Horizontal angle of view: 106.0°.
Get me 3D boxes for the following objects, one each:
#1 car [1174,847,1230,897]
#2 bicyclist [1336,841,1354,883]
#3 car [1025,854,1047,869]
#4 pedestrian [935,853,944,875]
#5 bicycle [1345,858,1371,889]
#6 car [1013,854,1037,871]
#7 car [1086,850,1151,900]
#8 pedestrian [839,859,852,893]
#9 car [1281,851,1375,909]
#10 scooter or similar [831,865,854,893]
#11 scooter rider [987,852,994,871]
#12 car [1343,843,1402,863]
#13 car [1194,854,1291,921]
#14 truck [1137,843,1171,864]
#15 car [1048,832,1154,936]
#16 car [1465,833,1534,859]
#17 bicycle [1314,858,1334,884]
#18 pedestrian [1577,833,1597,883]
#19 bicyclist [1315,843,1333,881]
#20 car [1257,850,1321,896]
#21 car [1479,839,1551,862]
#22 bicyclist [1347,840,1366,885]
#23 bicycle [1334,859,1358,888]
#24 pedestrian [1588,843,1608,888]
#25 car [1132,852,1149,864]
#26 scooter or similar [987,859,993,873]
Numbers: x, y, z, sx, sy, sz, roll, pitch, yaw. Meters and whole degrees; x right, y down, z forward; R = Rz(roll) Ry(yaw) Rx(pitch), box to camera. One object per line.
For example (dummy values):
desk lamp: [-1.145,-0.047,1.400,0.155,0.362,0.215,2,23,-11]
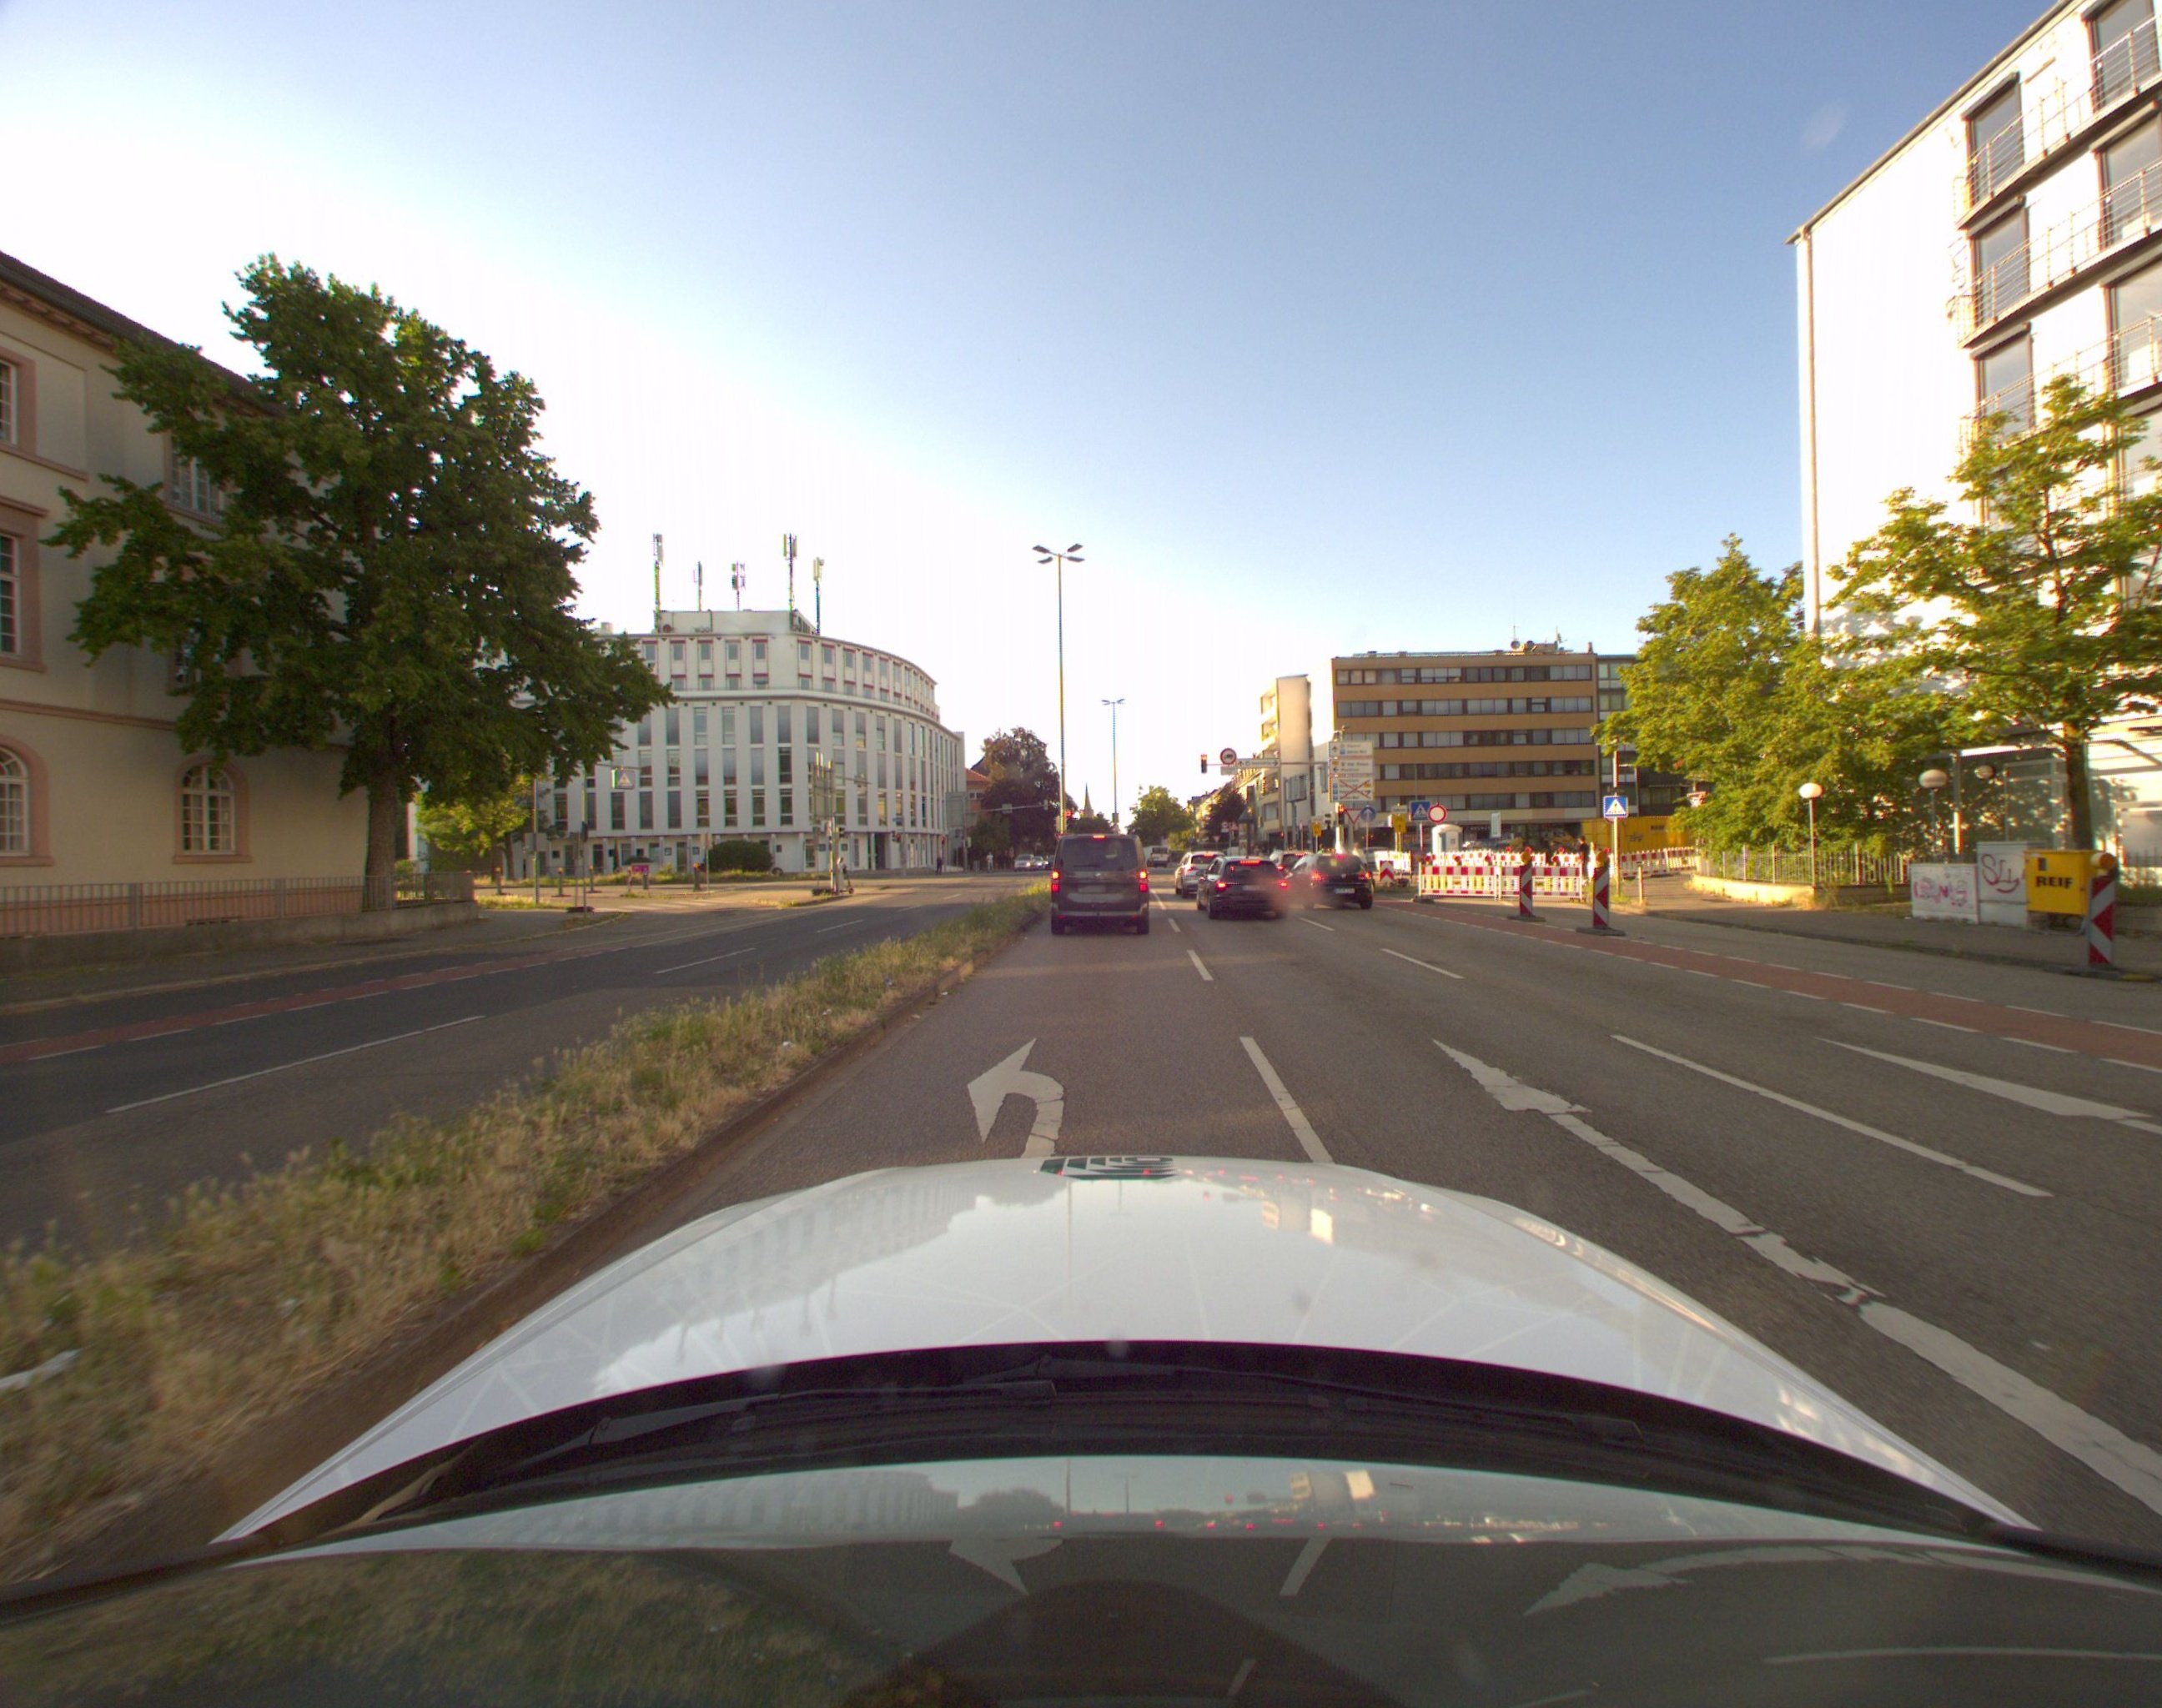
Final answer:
car: [4.068,0.574,27.881,1.522,1.613,3.748,0,0,3]
bicyclist: [9.733,0.303,30.032,0.439,1.525,0.726,-2,0,2]
car: [-4.485,0.753,81.250,1.849,1.420,4.001,-2,0,1]
pedestrian: [-11.238,0.802,64.782,0.626,1.722,0.669,-2,0,-11]
bicycle: [9.450,0.642,27.819,0.335,1.008,1.857,-2,0,3]
car: [-5.200,0.791,75.792,1.849,1.420,4.001,-2,0,1]
car: [1.278,0.645,27.492,1.985,1.530,4.003,-2,0,3]
pedestrian: [-10.496,0.976,36.273,0.474,1.505,0.334,-1,0,-9]
car: [6.718,0.658,22.529,1.627,1.449,3.748,0,0,3]
scooter or similar: [-10.557,1.104,36.020,0.893,1.234,0.370,-2,0,-9]
scooter rider: [-8.021,0.673,71.888,0.479,1.697,0.637,-2,0,2]
car: [22.624,-0.104,63.270,3.979,1.420,1.785,-2,0,-4]
car: [3.764,0.715,19.609,1.675,1.421,4.217,0,0,3]
truck: [7.787,-0.043,87.327,2.131,2.086,4.608,-2,0,-15]
car: [0.462,0.523,16.882,1.899,1.863,4.529,0,0,3]
car: [31.527,-0.587,61.425,4.198,1.817,2.002,-2,0,2]
bicycle: [9.807,0.677,32.921,0.335,1.008,1.857,-2,0,3]
pedestrian: [19.003,0.143,30.573,0.575,1.834,0.481,-1,0,-43]
bicyclist: [9.846,0.322,32.968,0.511,1.525,0.726,-2,0,2]
car: [7.152,0.618,28.248,1.499,1.449,3.307,-2,0,3]
car: [31.244,-0.259,58.678,4.337,1.549,1.782,-2,0,-9]
bicyclist: [9.431,0.289,27.883,0.439,1.525,0.483,-2,0,2]
bicycle: [9.732,0.688,29.949,0.335,1.008,1.857,-2,0,3]
pedestrian: [19.725,0.436,31.091,0.607,1.671,0.449,-1,0,-41]
car: [8.965,0.568,122.526,1.989,1.662,3.996,-2,0,-3]
scooter or similar: [-8.011,1.025,71.732,0.284,1.188,1.170,-2,0,3]
